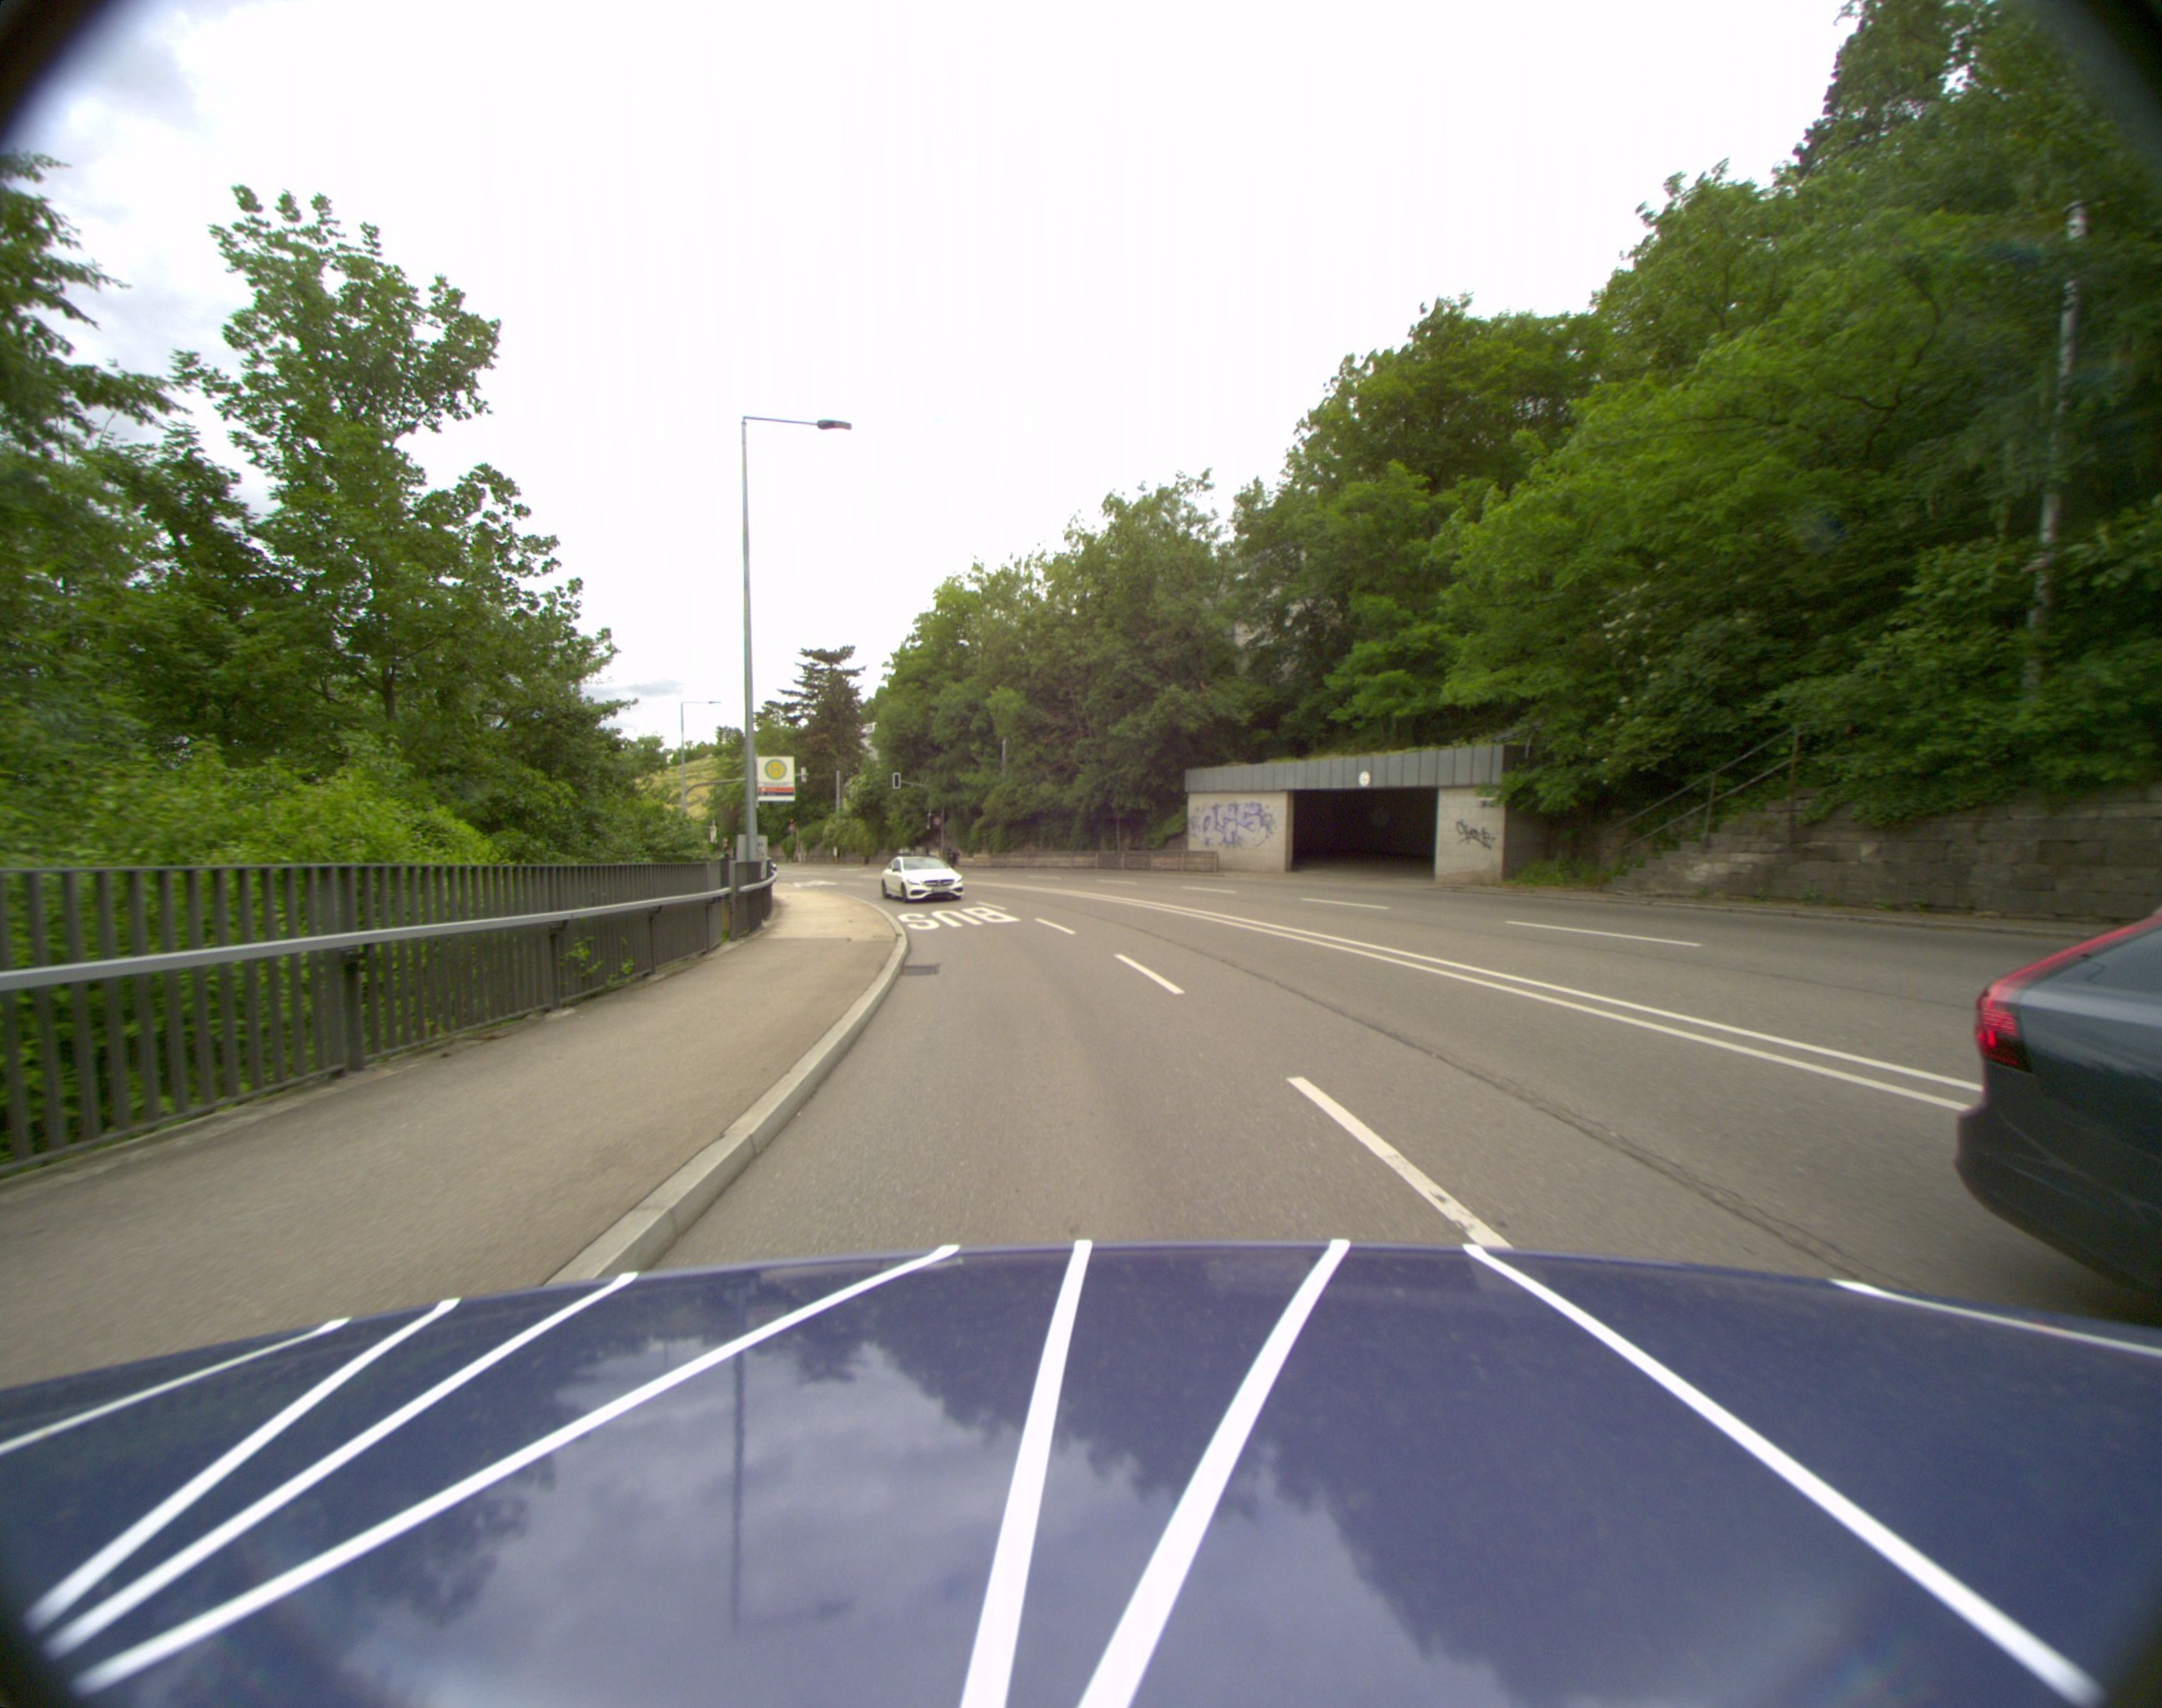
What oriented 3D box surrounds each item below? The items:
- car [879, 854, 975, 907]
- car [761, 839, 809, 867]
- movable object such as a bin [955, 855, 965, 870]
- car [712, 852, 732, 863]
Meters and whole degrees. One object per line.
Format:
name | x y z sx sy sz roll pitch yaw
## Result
car | -5.064 0.799 24.531 1.907 1.419 4.256 -4 1 -26
car | -19.335 -0.080 49.616 2.003 1.581 3.989 -6 3 -33
movable object such as a bin | -8.064 0.560 50.561 0.429 0.945 0.478 -6 4 -35
car | -50.839 0.519 107.634 1.821 1.426 4.237 -6 3 -33
